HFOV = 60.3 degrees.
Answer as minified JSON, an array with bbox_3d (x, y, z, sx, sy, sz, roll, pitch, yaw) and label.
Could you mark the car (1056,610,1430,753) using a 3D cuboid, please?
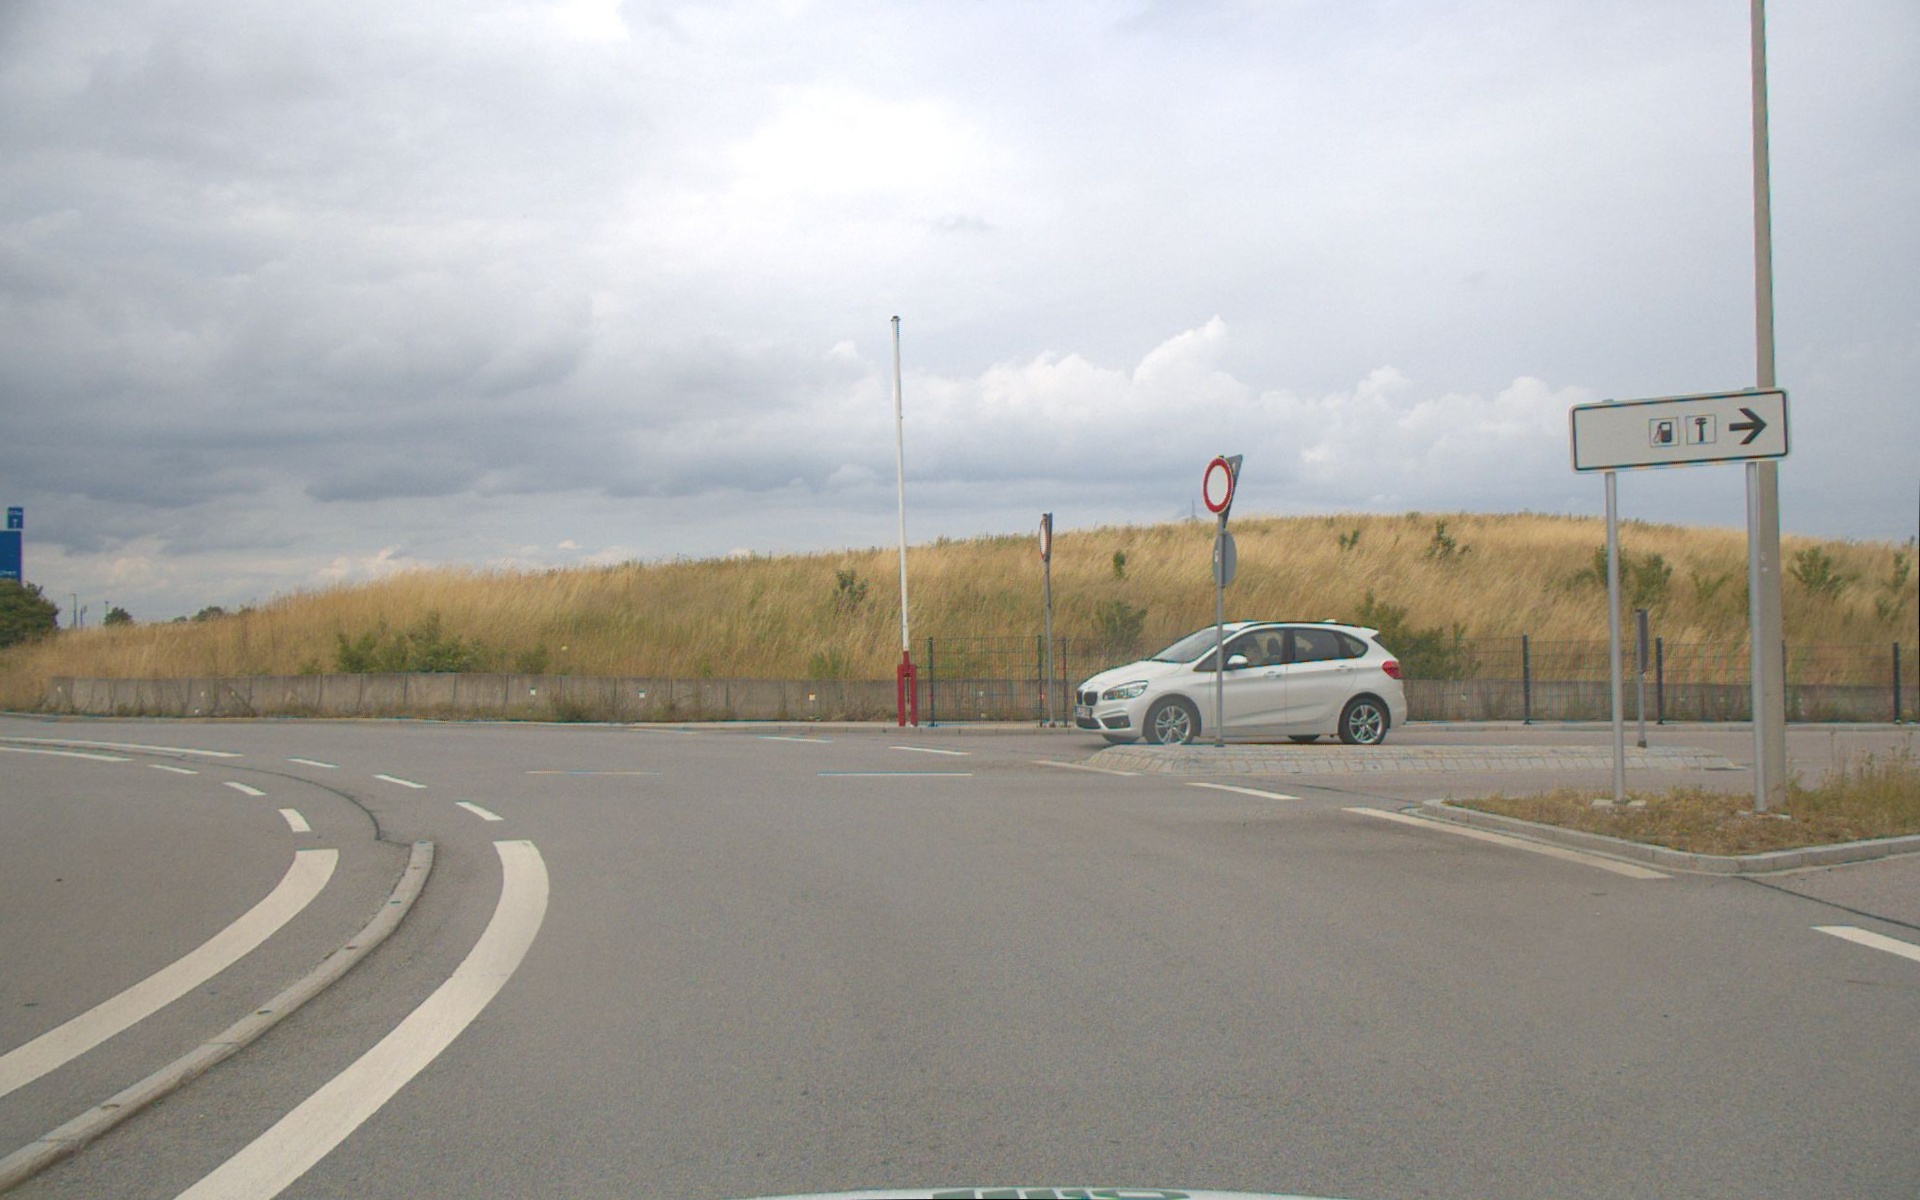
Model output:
[{"bbox_3d":[3.558,1.004,20.955,4.341,1.657,1.776,1,0,-16],"label":"car"}]
